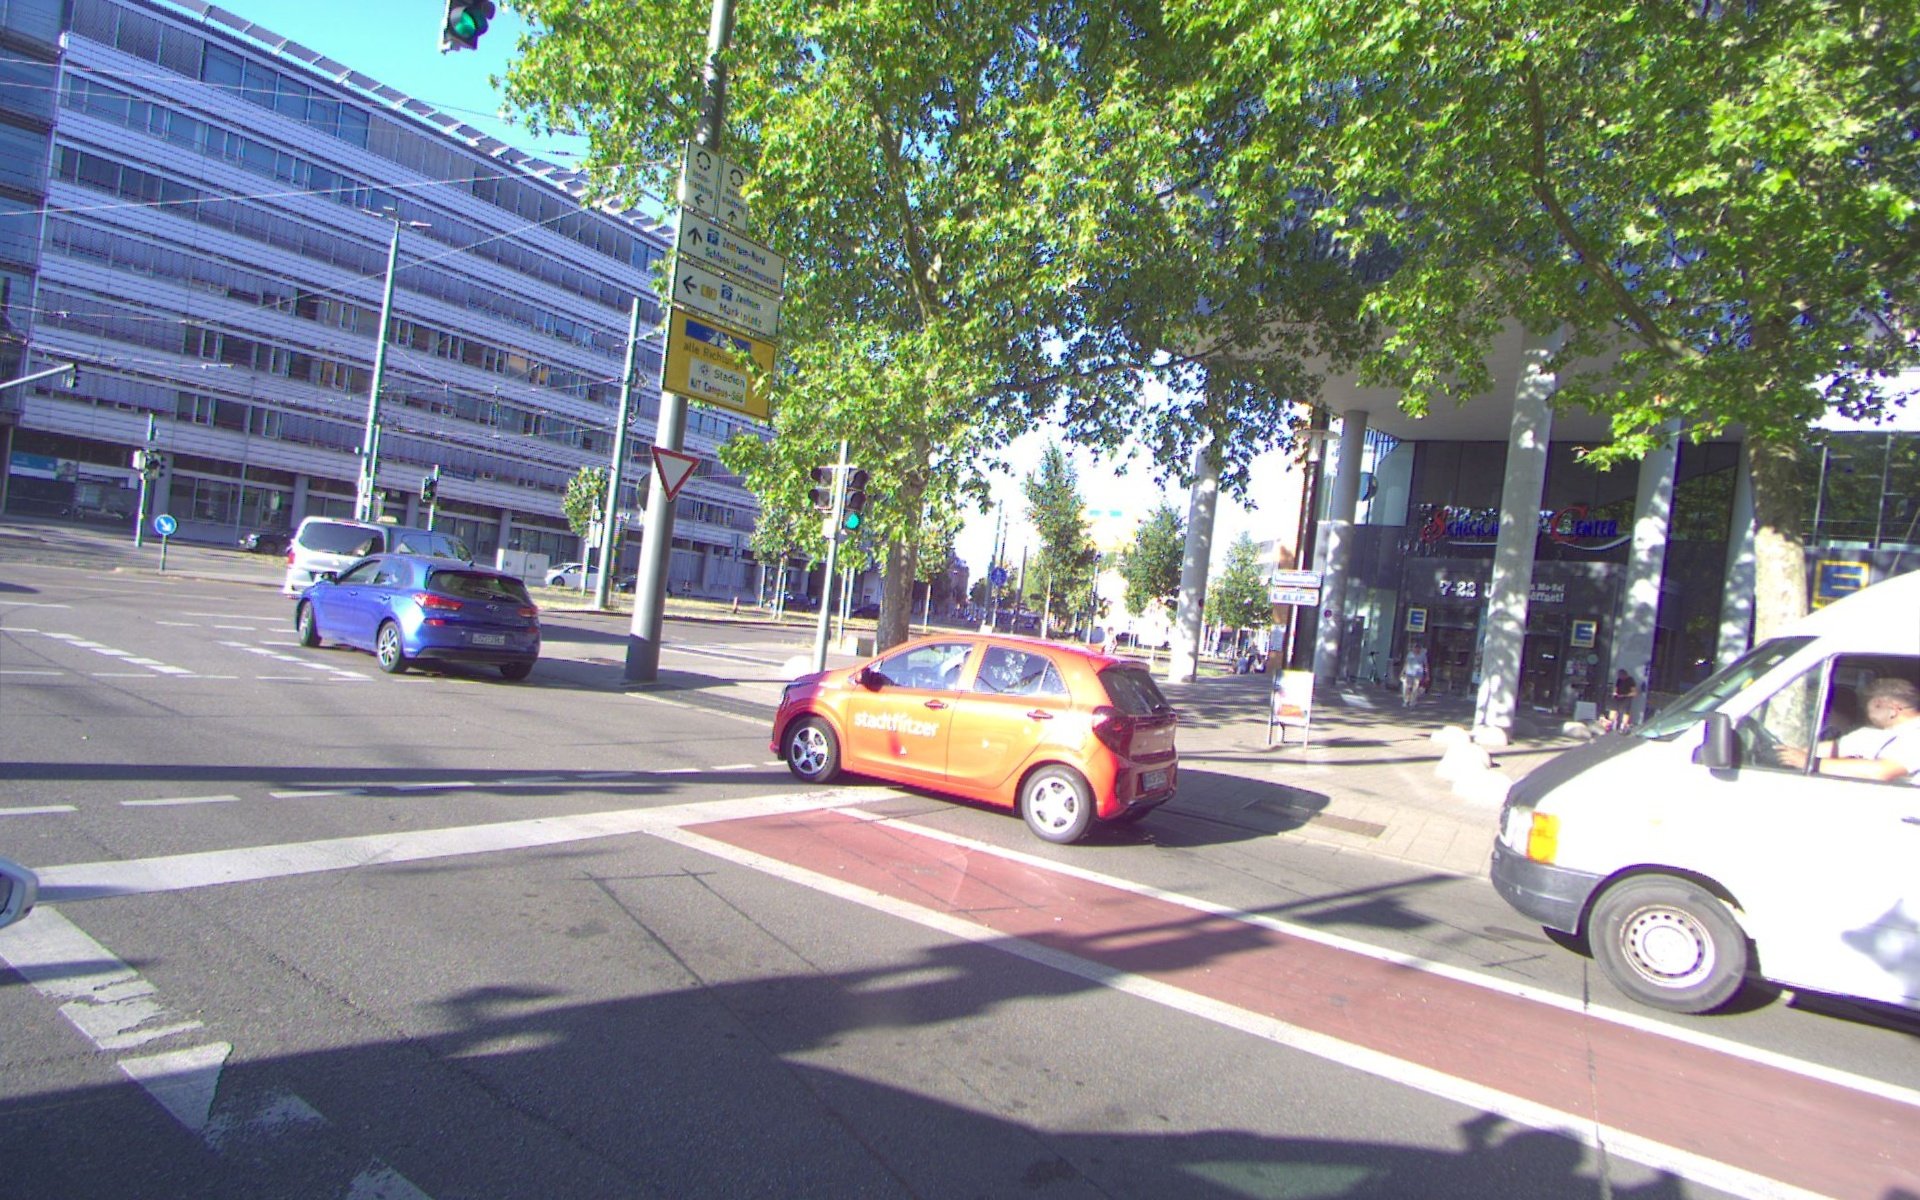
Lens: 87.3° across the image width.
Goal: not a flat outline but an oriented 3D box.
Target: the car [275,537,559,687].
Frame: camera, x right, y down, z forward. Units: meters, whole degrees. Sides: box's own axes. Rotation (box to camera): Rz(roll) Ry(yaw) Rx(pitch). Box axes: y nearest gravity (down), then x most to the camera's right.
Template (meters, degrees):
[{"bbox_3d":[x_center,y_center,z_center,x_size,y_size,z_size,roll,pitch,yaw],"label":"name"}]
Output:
[{"bbox_3d":[-7.428,0.113,13.617,4.149,1.476,1.748,7,-1,38],"label":"car"}]

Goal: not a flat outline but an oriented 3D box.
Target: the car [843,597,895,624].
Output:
[{"bbox_3d":[-7.392,0.866,81.851,1.852,1.614,4.121,6,-2,35],"label":"car"}]

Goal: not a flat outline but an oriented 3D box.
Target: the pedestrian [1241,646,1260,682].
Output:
[{"bbox_3d":[13.586,3.010,47.041,0.540,1.612,0.595,7,0,32],"label":"pedestrian"}]

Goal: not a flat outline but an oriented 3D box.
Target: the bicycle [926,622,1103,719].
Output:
[{"bbox_3d":[0.878,1.171,16.978,2.897,1.252,0.705,6,-1,32],"label":"bicycle"}]

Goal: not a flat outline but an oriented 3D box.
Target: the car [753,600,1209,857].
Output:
[{"bbox_3d":[0.111,0.977,8.692,3.538,1.476,1.493,7,-1,32],"label":"car"}]

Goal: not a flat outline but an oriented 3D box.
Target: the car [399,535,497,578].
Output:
[{"bbox_3d":[-26.230,-2.196,51.656,1.769,1.569,3.990,6,-2,36],"label":"car"}]

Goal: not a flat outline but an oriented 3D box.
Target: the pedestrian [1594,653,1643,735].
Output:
[{"bbox_3d":[17.512,2.495,26.746,0.847,2.037,1.021,6,-1,38],"label":"pedestrian"}]

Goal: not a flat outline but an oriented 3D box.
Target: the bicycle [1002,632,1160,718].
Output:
[{"bbox_3d":[2.330,1.439,19.638,2.896,1.250,0.698,6,-4,31],"label":"bicycle"}]

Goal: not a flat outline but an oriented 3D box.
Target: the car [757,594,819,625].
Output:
[{"bbox_3d":[-12.110,0.687,71.180,1.852,1.614,4.121,6,-2,35],"label":"car"}]

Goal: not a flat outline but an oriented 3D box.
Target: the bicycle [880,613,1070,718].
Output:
[{"bbox_3d":[0.189,1.002,15.715,2.896,1.252,0.705,6,-1,31],"label":"bicycle"}]

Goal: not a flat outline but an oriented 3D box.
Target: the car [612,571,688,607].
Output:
[{"bbox_3d":[-19.157,-0.667,62.338,1.852,1.614,4.121,6,-2,35],"label":"car"}]

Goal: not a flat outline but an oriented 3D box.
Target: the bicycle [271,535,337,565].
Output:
[{"bbox_3d":[-30.165,-2.289,46.316,0.627,1.035,2.409,7,0,36],"label":"bicycle"}]

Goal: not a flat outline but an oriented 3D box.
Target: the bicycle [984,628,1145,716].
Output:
[{"bbox_3d":[1.934,1.328,18.967,2.896,1.253,0.704,6,0,31],"label":"bicycle"}]

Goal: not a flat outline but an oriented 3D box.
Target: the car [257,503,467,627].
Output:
[{"bbox_3d":[-11.730,-0.618,20.182,1.975,1.919,4.871,8,-1,-12],"label":"car"}]

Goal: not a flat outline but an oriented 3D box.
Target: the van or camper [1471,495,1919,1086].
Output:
[{"bbox_3d":[6.209,1.128,4.776,6.389,2.647,2.002,7,0,31],"label":"van or camper"}]

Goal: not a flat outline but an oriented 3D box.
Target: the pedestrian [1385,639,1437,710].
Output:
[{"bbox_3d":[12.952,2.122,28.910,0.800,1.913,0.871,5,1,-16],"label":"pedestrian"}]

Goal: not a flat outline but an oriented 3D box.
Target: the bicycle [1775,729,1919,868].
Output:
[{"bbox_3d":[10.509,2.164,9.896,3.759,1.234,0.756,5,-2,38],"label":"bicycle"}]

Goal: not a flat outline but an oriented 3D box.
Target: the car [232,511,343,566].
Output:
[{"bbox_3d":[-33.519,-3.024,50.206,1.967,2.037,3.995,6,-2,32],"label":"car"}]

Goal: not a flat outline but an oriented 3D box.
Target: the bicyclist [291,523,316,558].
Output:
[{"bbox_3d":[-30.182,-2.722,46.230,0.604,1.521,0.663,7,1,37],"label":"bicyclist"}]

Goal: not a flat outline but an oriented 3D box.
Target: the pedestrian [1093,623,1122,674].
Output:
[{"bbox_3d":[4.916,1.611,33.552,0.569,1.612,0.595,7,0,32],"label":"pedestrian"}]

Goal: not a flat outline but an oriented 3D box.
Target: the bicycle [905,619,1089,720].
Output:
[{"bbox_3d":[0.559,1.104,16.315,2.896,1.243,0.686,6,-1,31],"label":"bicycle"}]

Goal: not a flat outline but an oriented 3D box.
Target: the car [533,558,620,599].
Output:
[{"bbox_3d":[-20.928,-1.162,55.048,1.852,1.614,3.991,6,-2,35],"label":"car"}]
